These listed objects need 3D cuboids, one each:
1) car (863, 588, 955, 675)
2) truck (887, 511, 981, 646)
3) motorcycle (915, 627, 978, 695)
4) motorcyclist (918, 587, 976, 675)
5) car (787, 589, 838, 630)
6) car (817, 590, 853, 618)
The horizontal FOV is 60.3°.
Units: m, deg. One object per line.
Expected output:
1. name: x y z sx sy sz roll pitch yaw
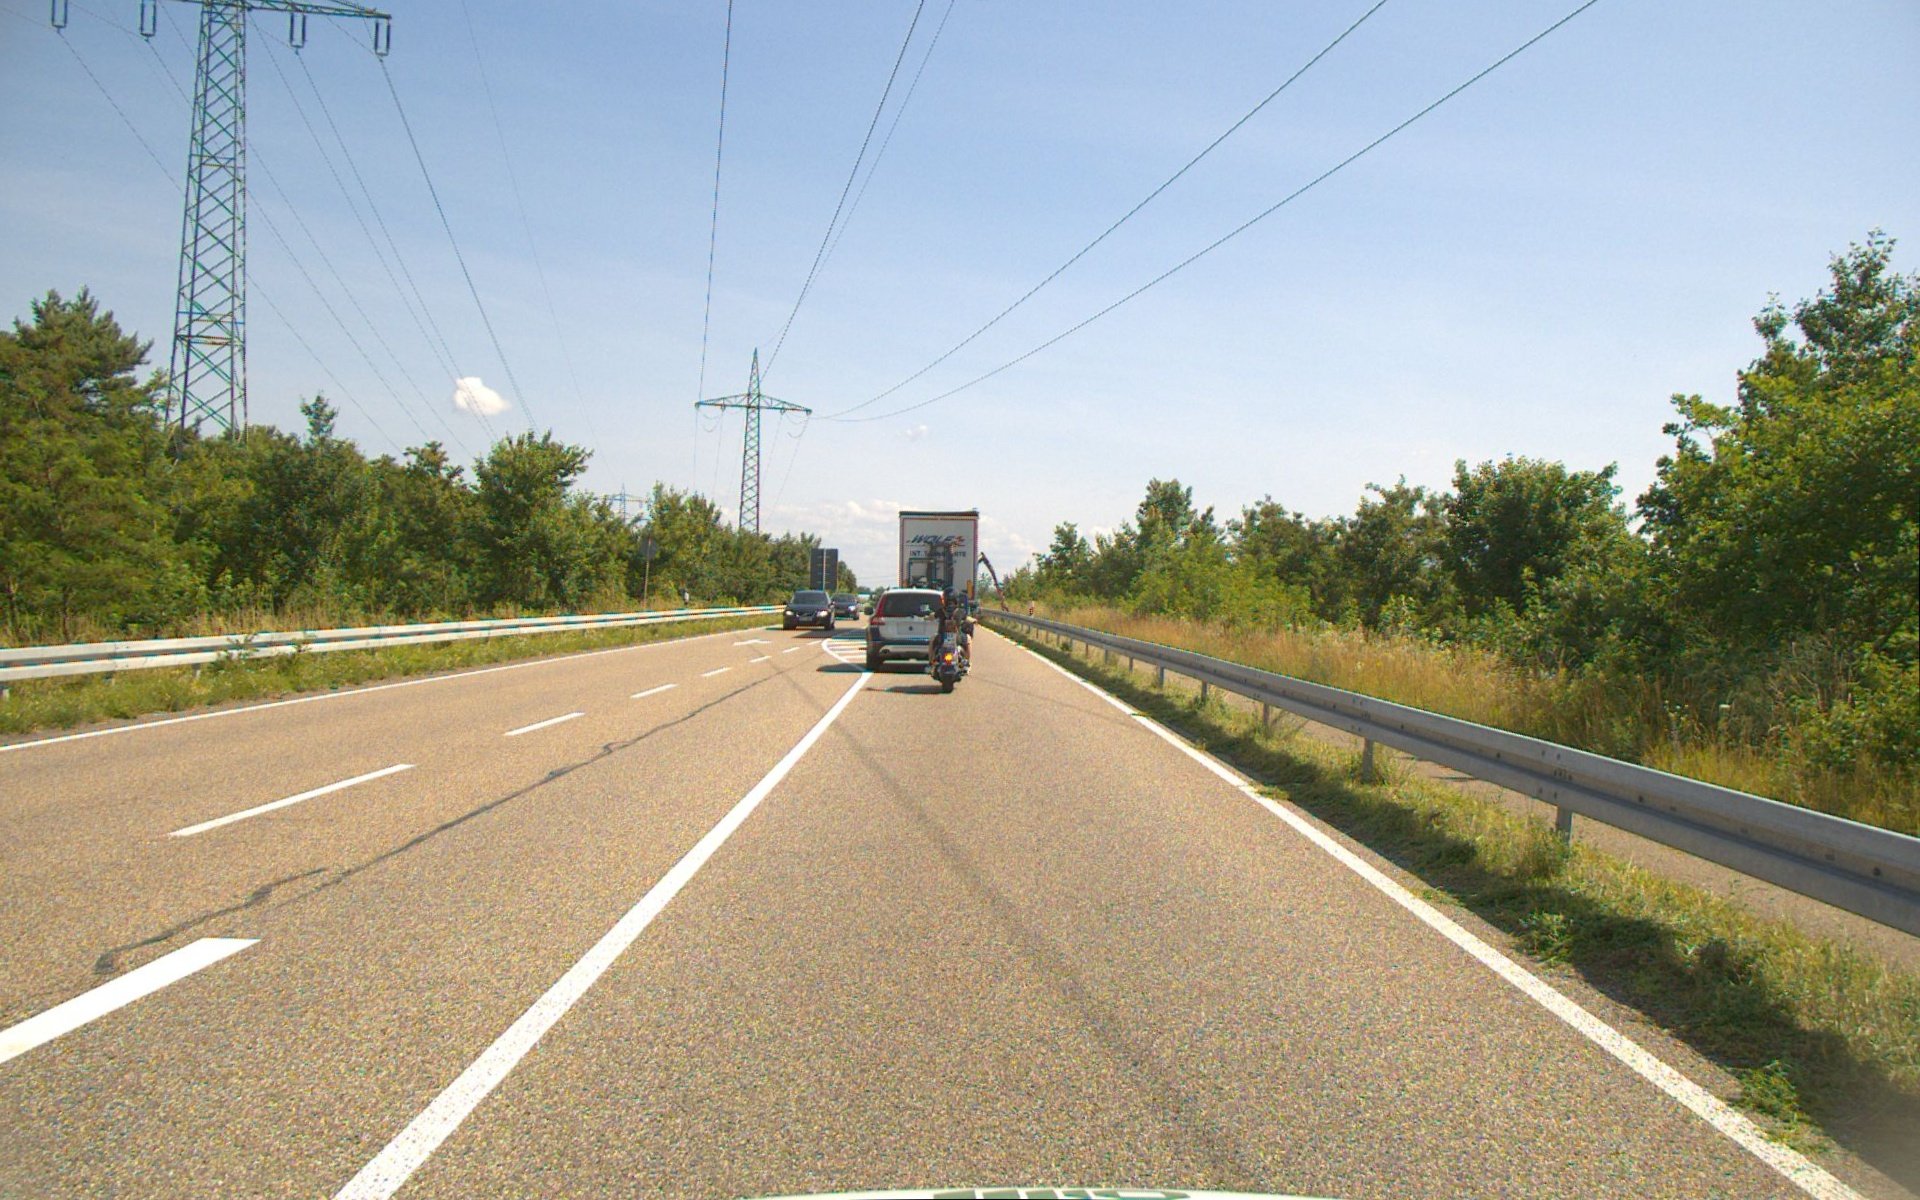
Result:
1. car: -0.962 0.575 32.243 1.666 1.563 3.498 1 0 -1
2. truck: -0.808 -0.711 59.939 2.907 4.260 14.821 1 0 0
3. motorcycle: -0.226 0.907 25.201 0.841 0.931 2.226 1 0 -3
4. motorcyclist: -0.203 0.463 25.275 0.820 1.303 0.919 1 0 -3
5. car: -5.737 0.329 64.694 1.692 1.517 4.421 1 0 -1
6. car: -6.815 0.177 90.379 1.626 1.467 4.214 1 0 0
